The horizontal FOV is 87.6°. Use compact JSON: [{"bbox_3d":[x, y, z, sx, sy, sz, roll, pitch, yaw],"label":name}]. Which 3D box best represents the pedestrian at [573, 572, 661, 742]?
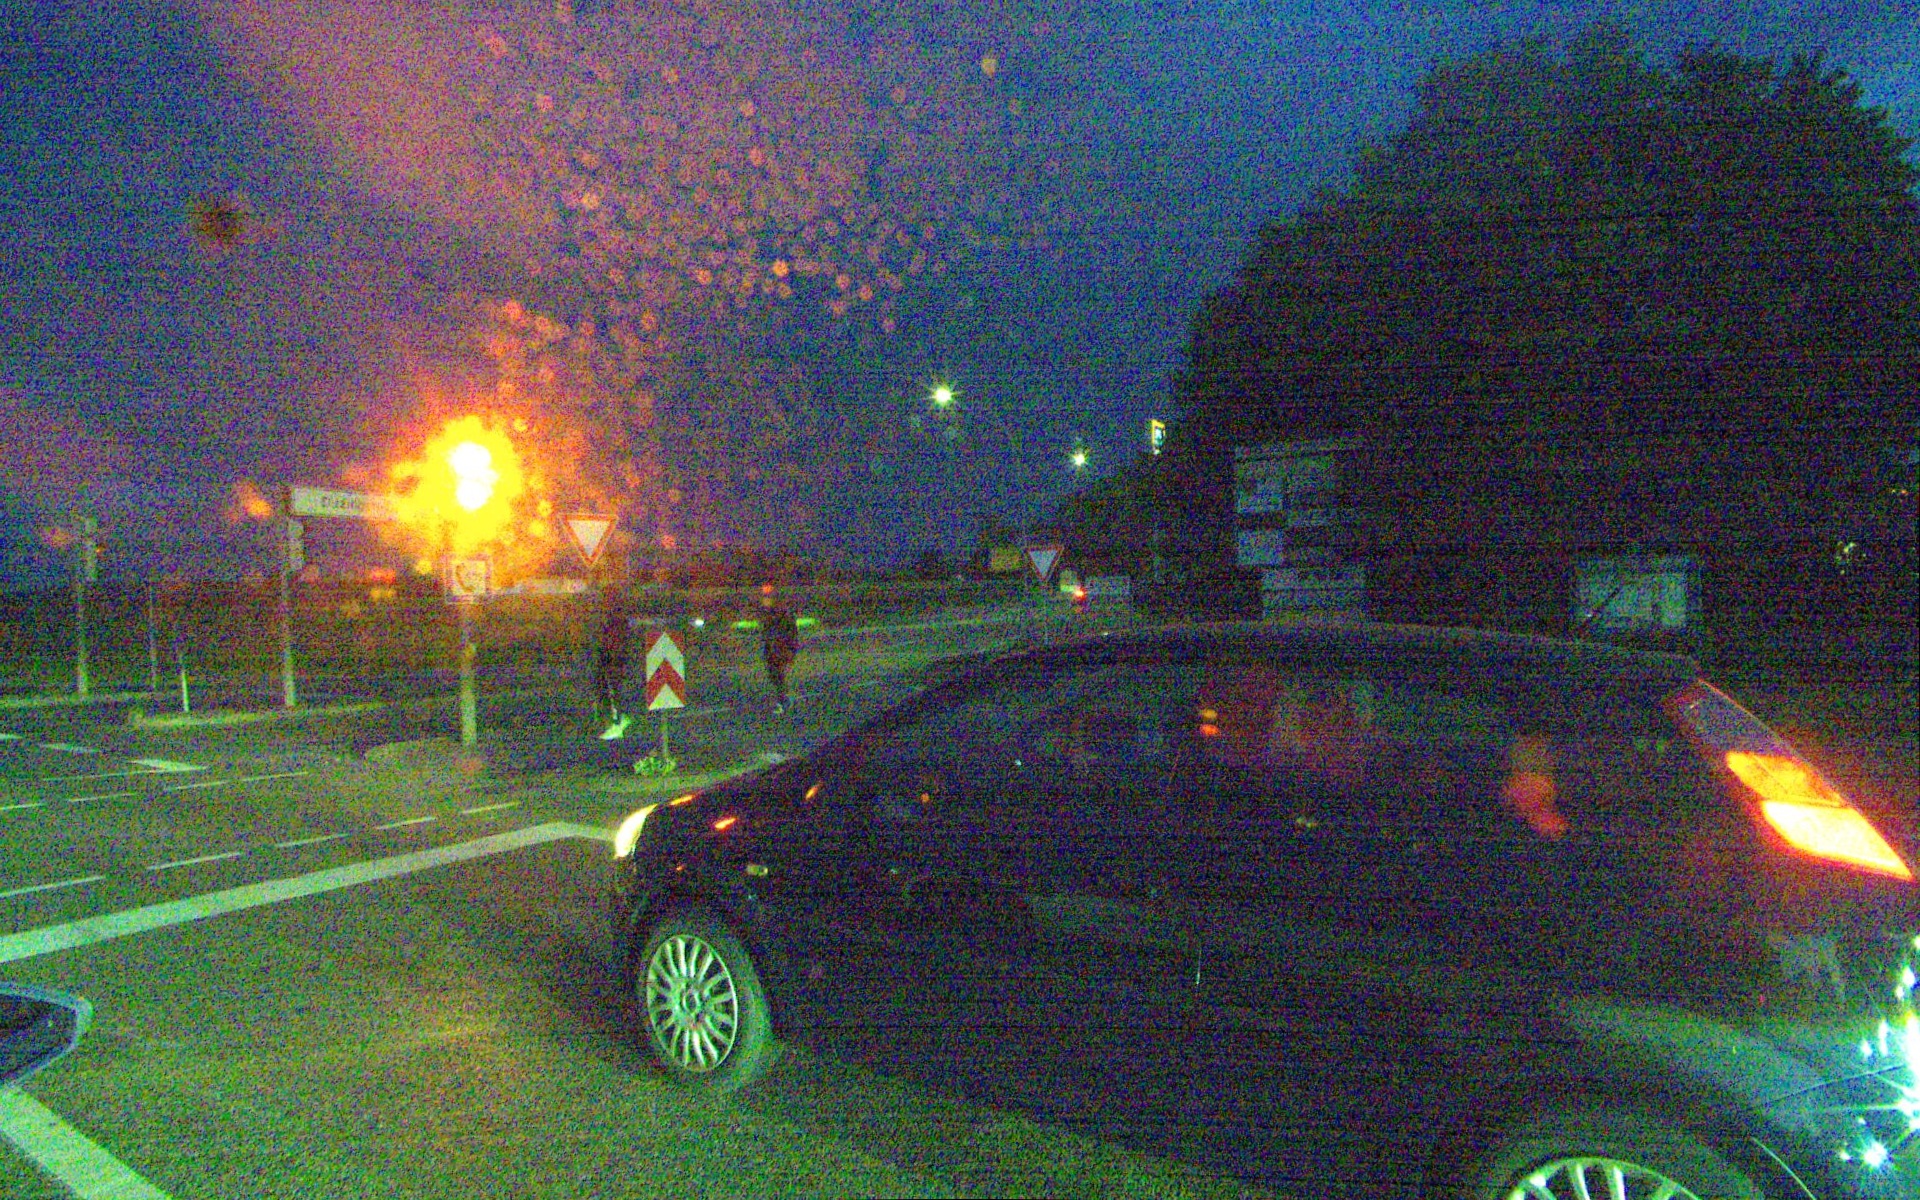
[{"bbox_3d":[-4.298,0.700,12.564,0.704,2.039,0.776,-1,-1,33],"label":"pedestrian"}]

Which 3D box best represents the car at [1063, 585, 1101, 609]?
[{"bbox_3d":[8.112,-0.194,66.092,1.777,1.461,3.994,-1,-1,18],"label":"car"}]

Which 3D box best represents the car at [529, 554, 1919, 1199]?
[{"bbox_3d":[0.457,0.749,3.232,3.663,1.557,1.655,-1,-1,33],"label":"car"}]

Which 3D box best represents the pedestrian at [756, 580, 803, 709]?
[{"bbox_3d":[-2.925,0.719,16.302,0.700,2.039,0.781,0,-1,-6],"label":"pedestrian"}]

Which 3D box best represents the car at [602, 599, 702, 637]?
[{"bbox_3d":[-14.429,0.806,46.886,4.401,1.686,1.995,-1,1,-20],"label":"car"}]
